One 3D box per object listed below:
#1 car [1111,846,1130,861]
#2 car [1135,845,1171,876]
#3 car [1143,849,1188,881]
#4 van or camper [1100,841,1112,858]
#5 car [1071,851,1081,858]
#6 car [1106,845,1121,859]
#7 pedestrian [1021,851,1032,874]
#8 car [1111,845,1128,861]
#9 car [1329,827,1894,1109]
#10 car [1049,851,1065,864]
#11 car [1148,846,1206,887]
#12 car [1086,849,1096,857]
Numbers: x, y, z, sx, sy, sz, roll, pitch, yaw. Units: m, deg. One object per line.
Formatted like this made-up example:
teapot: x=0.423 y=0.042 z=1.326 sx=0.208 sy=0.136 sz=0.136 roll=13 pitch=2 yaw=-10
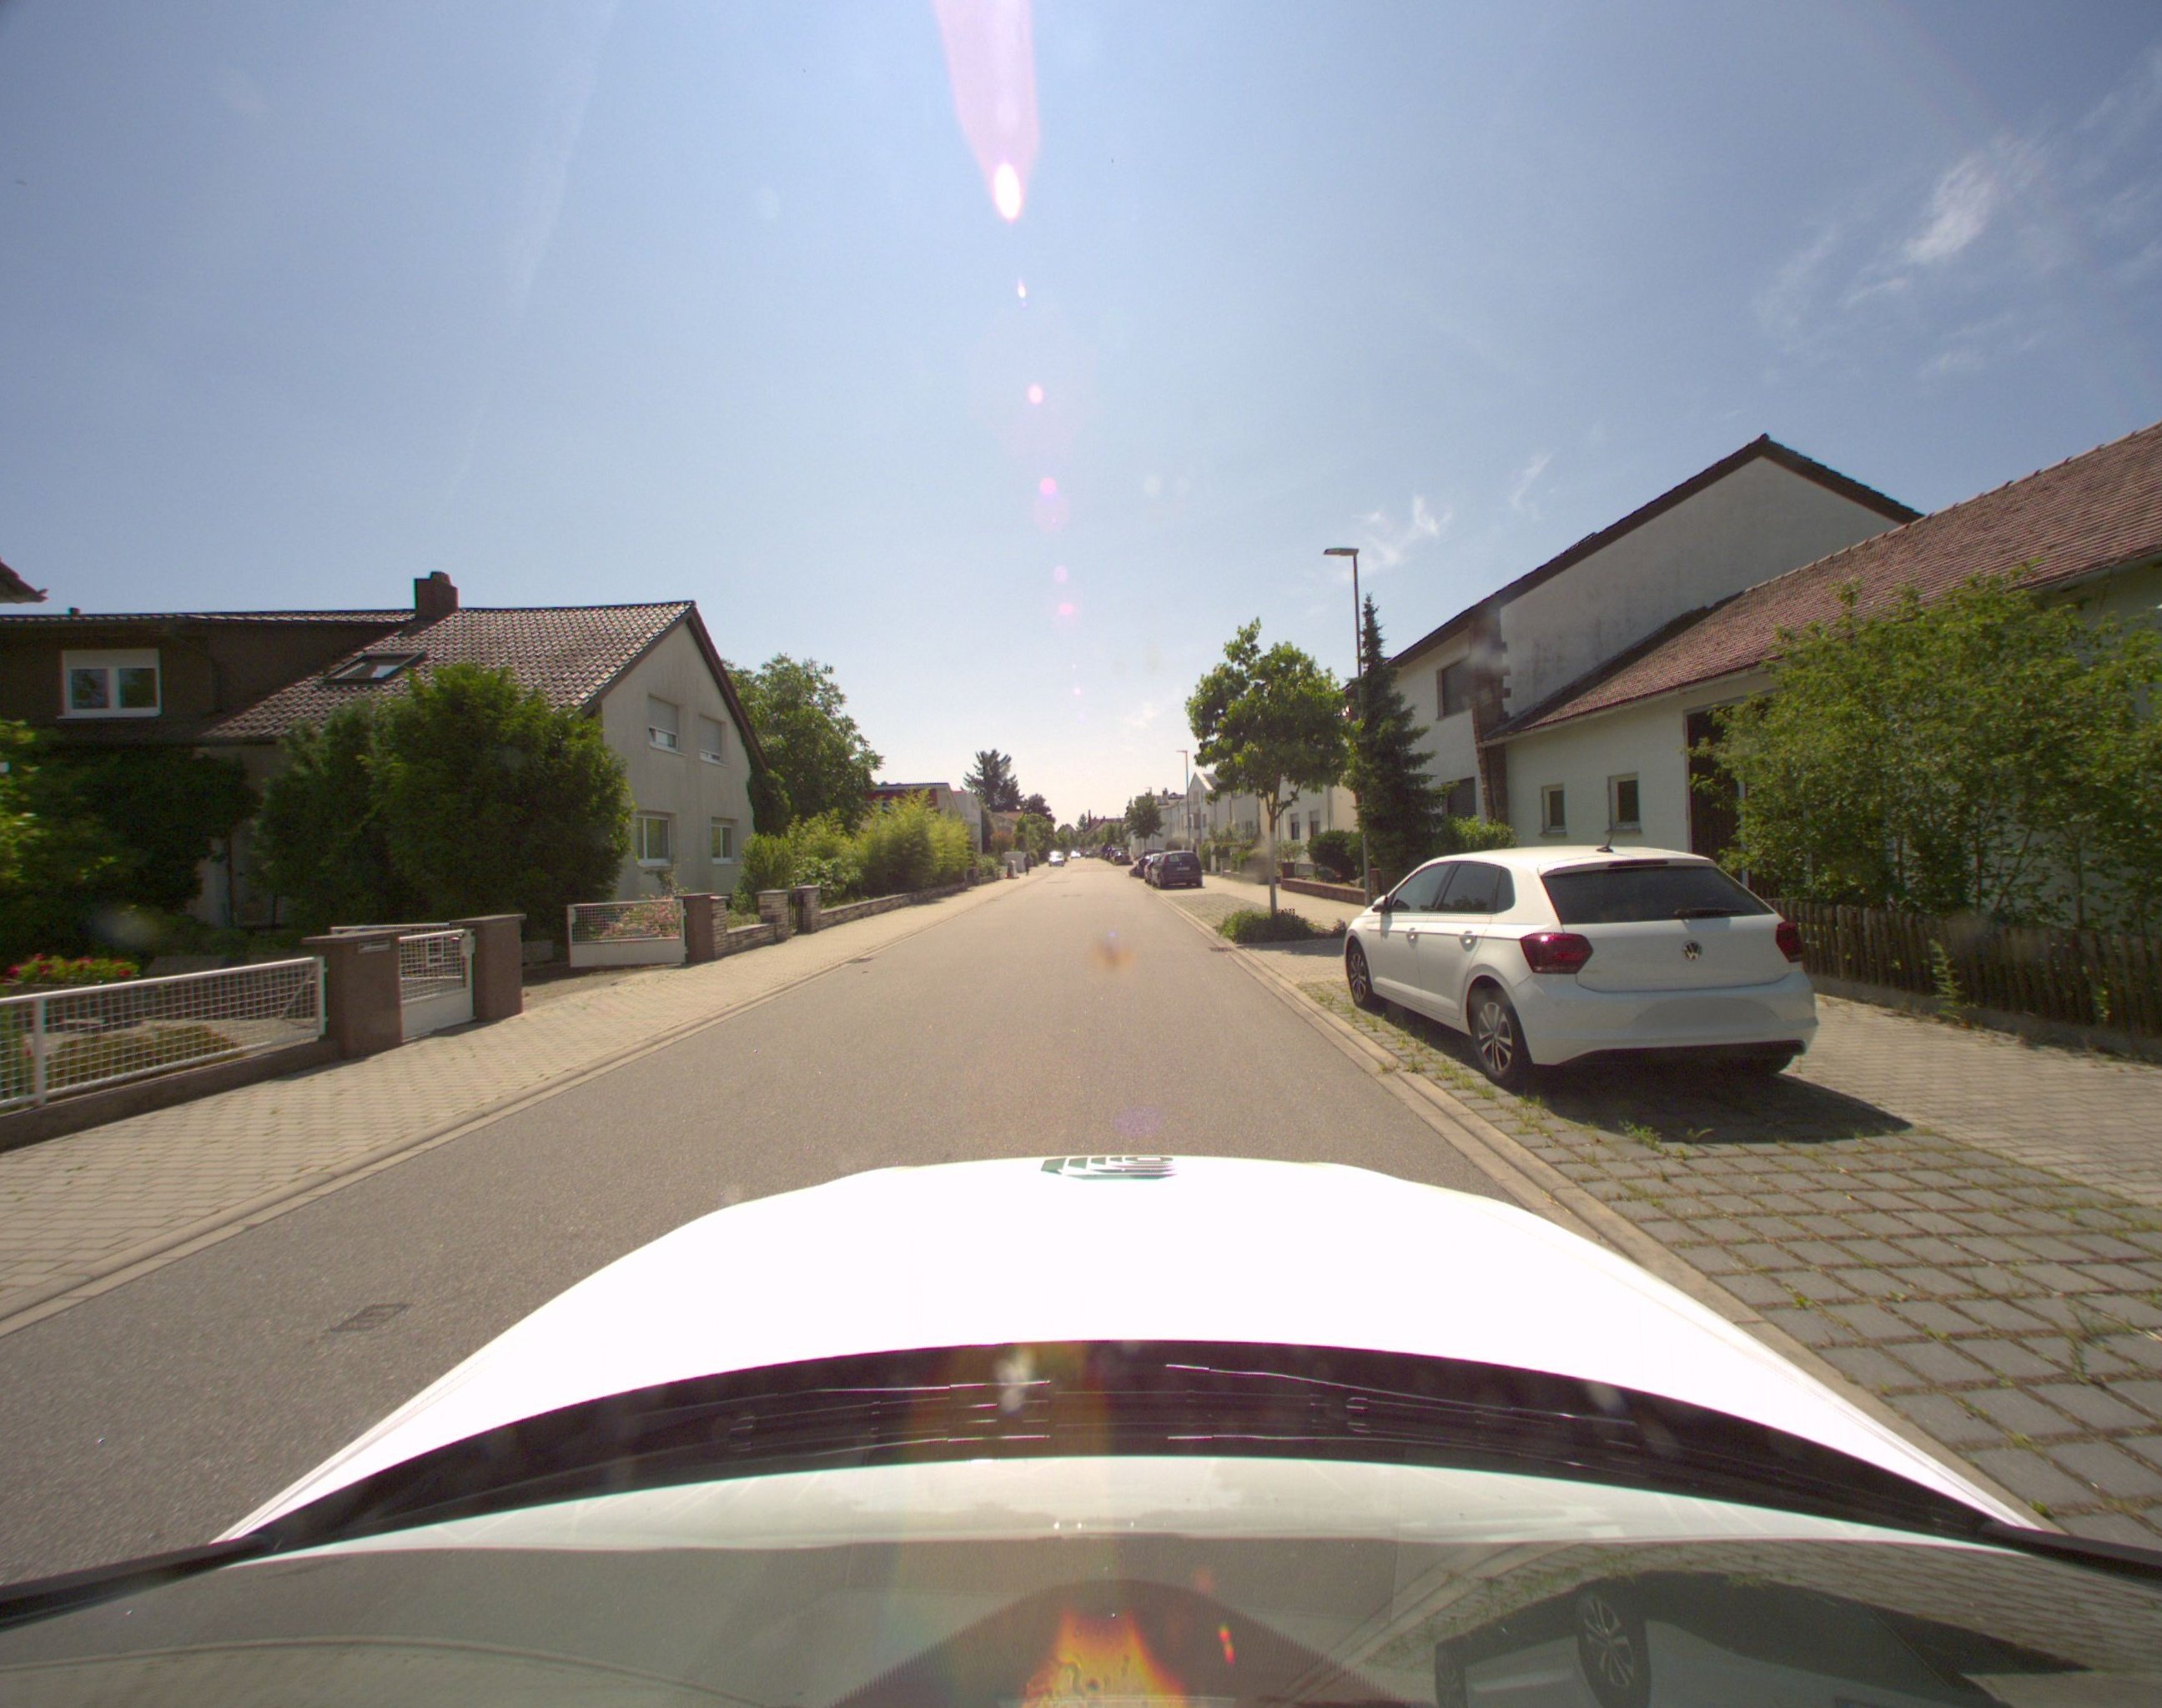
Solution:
car: x=4.502 y=-0.117 z=92.293 sx=1.768 sy=1.595 sz=4.276 roll=-2 pitch=0 yaw=-2
car: x=4.248 y=0.328 z=48.780 sx=1.808 sy=1.656 sz=4.566 roll=-2 pitch=1 yaw=1
car: x=4.029 y=0.494 z=39.546 sx=1.808 sy=1.420 sz=4.094 roll=-2 pitch=0 yaw=1
van or camper: x=4.474 y=-0.855 z=148.055 sx=1.987 sy=2.941 sz=4.000 roll=-2 pitch=0 yaw=0
car: x=-1.021 y=0.111 z=174.278 sx=1.845 sy=1.478 sz=4.703 roll=-2 pitch=0 yaw=2
car: x=4.908 y=-0.301 z=123.192 sx=1.987 sy=1.947 sz=5.215 roll=-3 pitch=0 yaw=1
pedestrian: x=-4.207 y=0.643 z=63.340 sx=0.712 sy=1.747 sz=0.961 roll=-2 pitch=0 yaw=1
car: x=5.144 y=-0.146 z=108.936 sx=2.092 sy=1.882 sz=4.844 roll=-3 pitch=0 yaw=1
car: x=3.404 y=0.587 z=6.253 sx=1.808 sy=1.420 sz=3.868 roll=-2 pitch=0 yaw=0
car: x=-2.945 y=0.421 z=100.656 sx=1.845 sy=1.488 sz=4.386 roll=-2 pitch=0 yaw=1
car: x=3.916 y=0.475 z=33.923 sx=1.737 sy=1.533 sz=4.446 roll=-2 pitch=0 yaw=-1
car: x=2.093 y=-0.223 z=168.954 sx=1.986 sy=1.430 sz=4.002 roll=-3 pitch=0 yaw=2
